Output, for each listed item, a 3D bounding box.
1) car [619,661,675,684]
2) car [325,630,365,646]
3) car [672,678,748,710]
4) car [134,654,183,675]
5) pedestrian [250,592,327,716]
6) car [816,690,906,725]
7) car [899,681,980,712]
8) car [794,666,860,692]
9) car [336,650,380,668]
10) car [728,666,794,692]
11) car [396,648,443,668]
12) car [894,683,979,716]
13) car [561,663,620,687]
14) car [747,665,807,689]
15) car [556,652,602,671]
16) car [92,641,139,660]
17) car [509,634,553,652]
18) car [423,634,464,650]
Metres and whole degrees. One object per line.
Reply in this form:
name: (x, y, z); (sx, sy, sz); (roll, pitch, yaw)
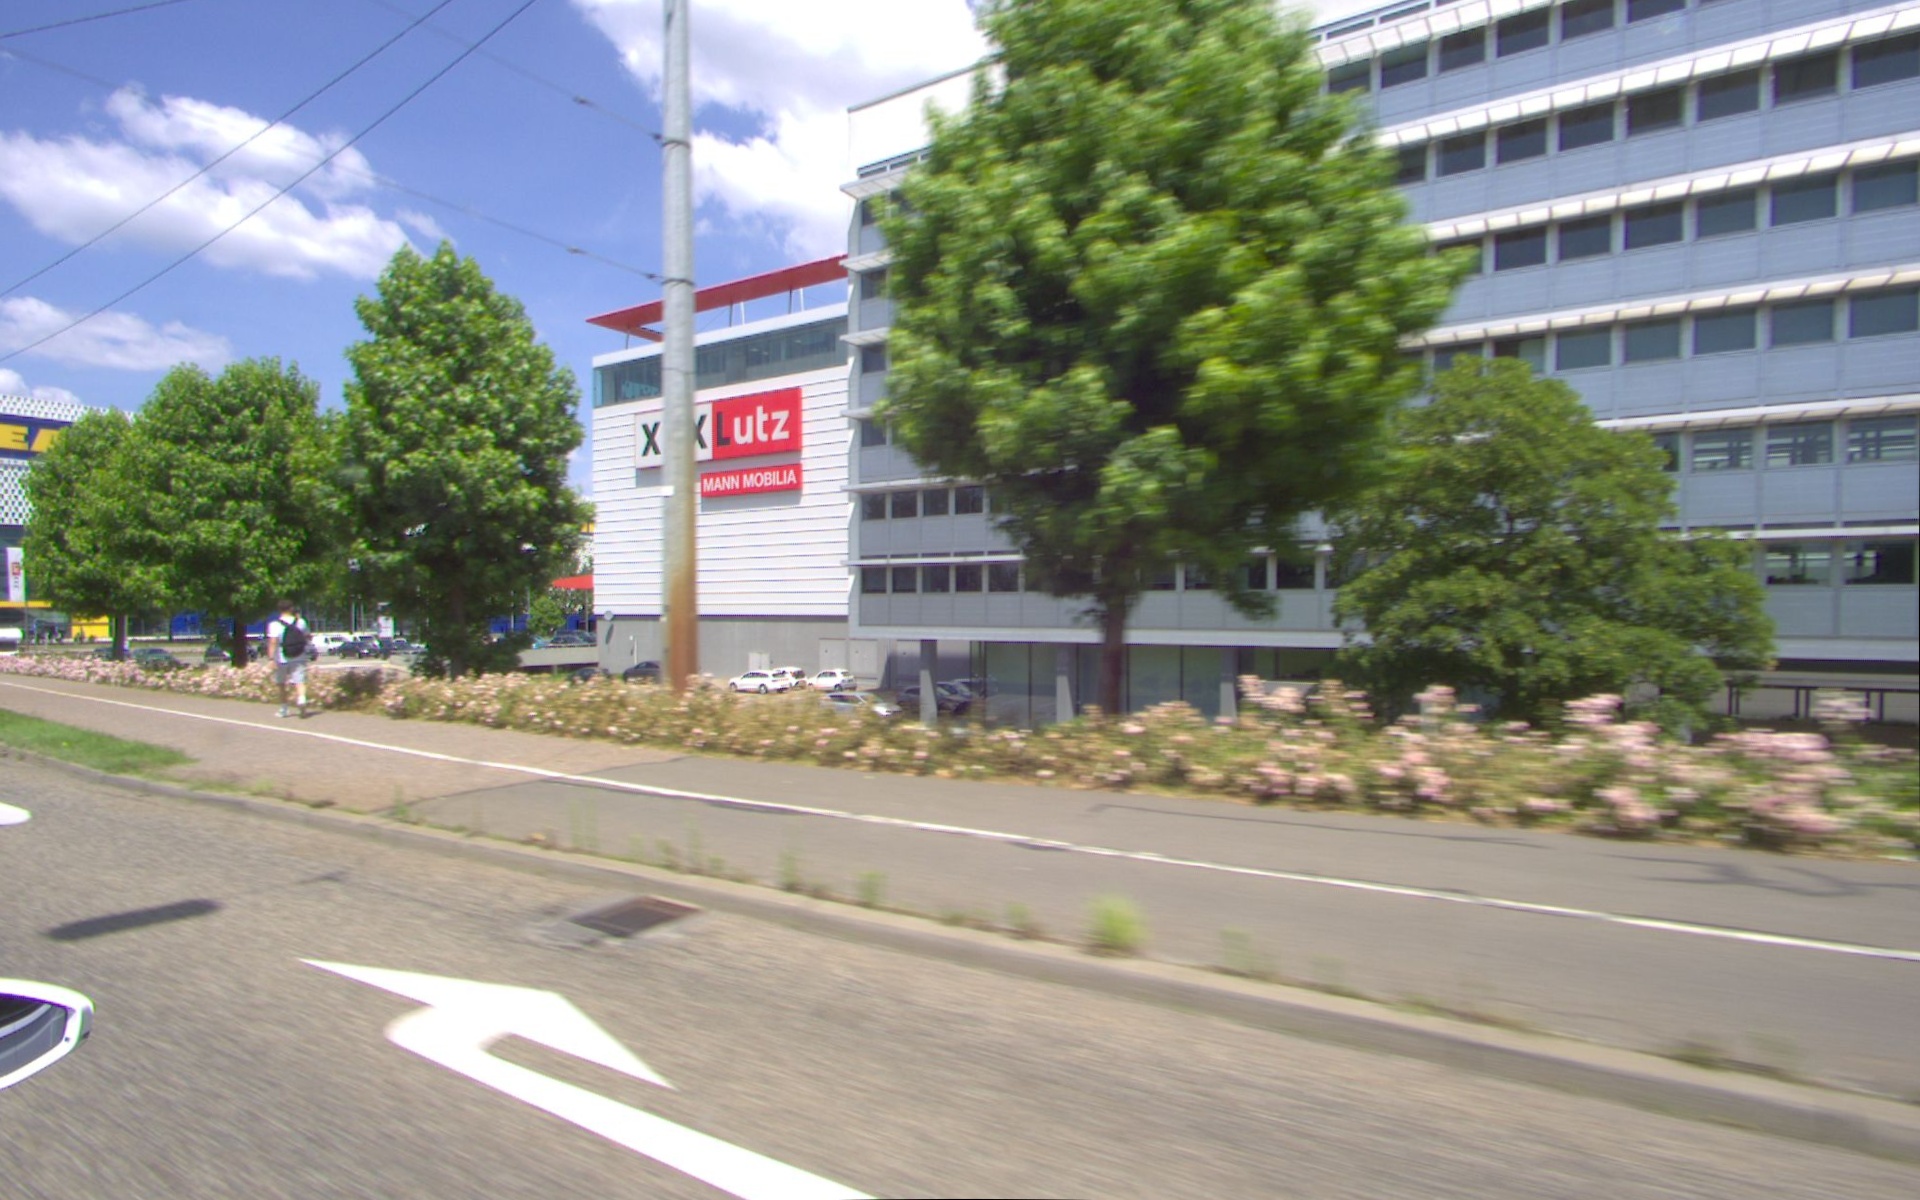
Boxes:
car: (-22.442, 5.152, 71.802); (3.907, 1.501, 1.738); (-1, -2, 32)
car: (-62.065, 3.834, 101.038); (3.939, 1.560, 1.738); (-1, -2, 29)
car: (-13.638, 5.087, 54.524); (4.029, 1.501, 1.738); (-1, -2, 32)
car: (-59.449, 4.764, 74.278); (3.830, 1.501, 1.569); (-1, -2, 30)
pedestrian: (-10.265, 0.814, 15.313); (0.912, 1.815, 0.667); (0, -1, 34)
car: (-4.794, 5.162, 48.451); (4.174, 1.410, 1.584); (-1, -2, 29)
car: (-1.144, 5.307, 55.233); (4.176, 1.501, 1.739); (-1, -2, 30)
car: (-8.756, 5.173, 65.925); (4.179, 1.501, 1.738); (-1, -2, 32)
car: (-51.783, 5.069, 86.096); (3.830, 1.501, 1.569); (-1, -2, 30)
car: (-13.065, 5.171, 65.644); (4.179, 1.501, 1.738); (-1, -2, 32)
car: (-43.615, 4.650, 80.741); (3.830, 1.501, 1.569); (-1, -2, 30)
car: (-1.247, 5.162, 52.393); (4.176, 1.501, 1.739); (-1, -2, 30)
car: (-25.206, 5.081, 68.269); (3.907, 1.501, 1.738); (-1, -2, 32)
car: (-12.444, 5.232, 68.165); (3.907, 1.501, 1.738); (-1, -2, 32)
car: (-35.261, 5.680, 92.658); (4.229, 1.665, 1.871); (-1, -2, 32)
car: (-70.920, 4.248, 84.086); (3.939, 1.560, 1.738); (-1, -2, 29)
car: (-38.114, 3.811, 88.964); (3.830, 1.501, 1.569); (-1, -2, 30)
car: (-48.033, 3.898, 93.129); (3.830, 1.501, 1.569); (-1, -2, 30)
